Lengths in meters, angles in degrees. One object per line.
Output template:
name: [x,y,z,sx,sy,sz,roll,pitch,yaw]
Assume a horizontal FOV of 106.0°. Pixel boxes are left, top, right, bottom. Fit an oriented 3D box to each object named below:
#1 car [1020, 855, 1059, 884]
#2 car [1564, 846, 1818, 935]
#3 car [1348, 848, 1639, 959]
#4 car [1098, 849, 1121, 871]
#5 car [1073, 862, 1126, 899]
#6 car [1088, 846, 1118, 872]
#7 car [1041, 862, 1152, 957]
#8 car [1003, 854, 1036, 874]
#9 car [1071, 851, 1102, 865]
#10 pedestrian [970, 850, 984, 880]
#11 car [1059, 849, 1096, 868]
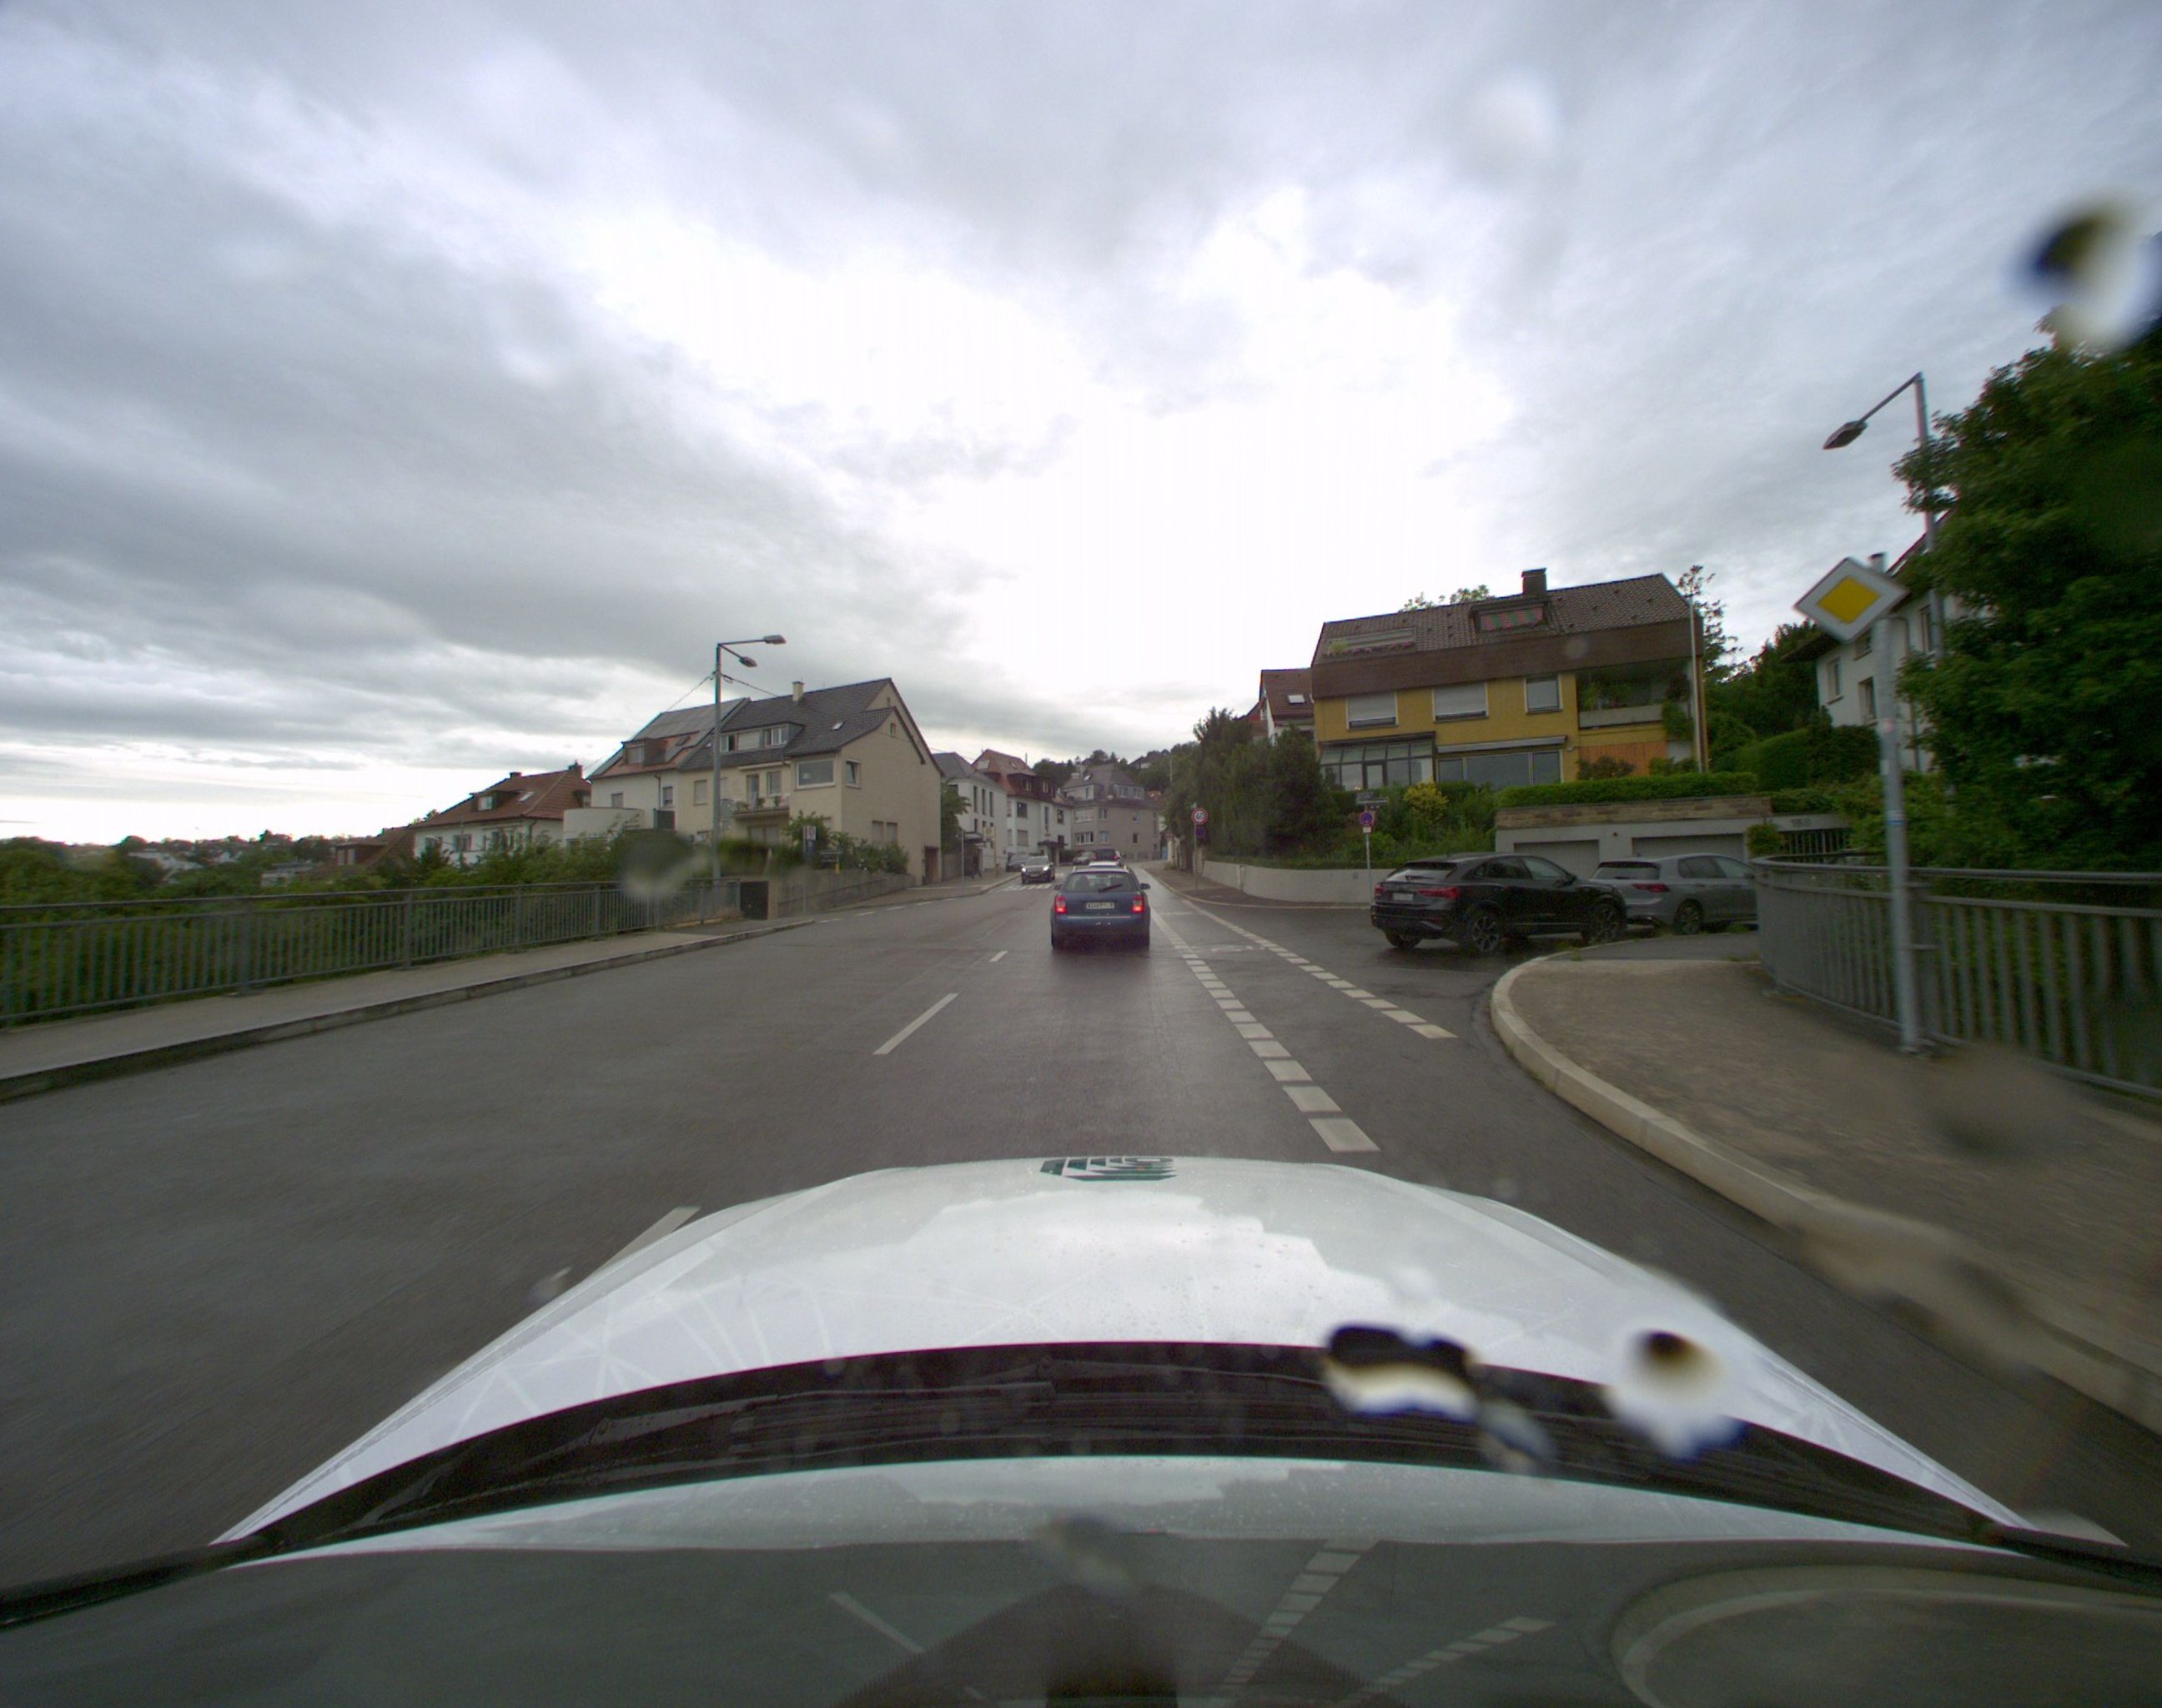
car: [-2.425,0.905,48.617,1.725,1.545,4.006,-3,-1,5]
car: [11.269,0.627,15.090,4.056,1.425,1.789,-1,-1,-20]
car: [6.747,0.705,13.371,4.204,1.523,1.986,-1,0,-22]
car: [2.457,0.504,70.598,1.921,1.706,4.001,-3,0,1]
car: [0.665,0.986,31.474,1.807,1.361,3.996,0,-1,-2]
car: [1.572,0.339,57.365,1.921,1.706,4.002,-3,0,2]
car: [0.349,0.917,15.292,1.804,1.439,4.084,0,1,3]
car: [-4.967,0.752,66.370,1.820,1.485,4.998,-2,0,5]
car: [0.633,0.444,91.765,1.819,1.425,4.254,-4,0,24]
pedestrian: [-6.658,0.703,52.340,0.783,1.857,0.728,-1,0,2]
car: [-0.437,0.587,100.913,3.948,1.823,2.013,-8,-2,30]
